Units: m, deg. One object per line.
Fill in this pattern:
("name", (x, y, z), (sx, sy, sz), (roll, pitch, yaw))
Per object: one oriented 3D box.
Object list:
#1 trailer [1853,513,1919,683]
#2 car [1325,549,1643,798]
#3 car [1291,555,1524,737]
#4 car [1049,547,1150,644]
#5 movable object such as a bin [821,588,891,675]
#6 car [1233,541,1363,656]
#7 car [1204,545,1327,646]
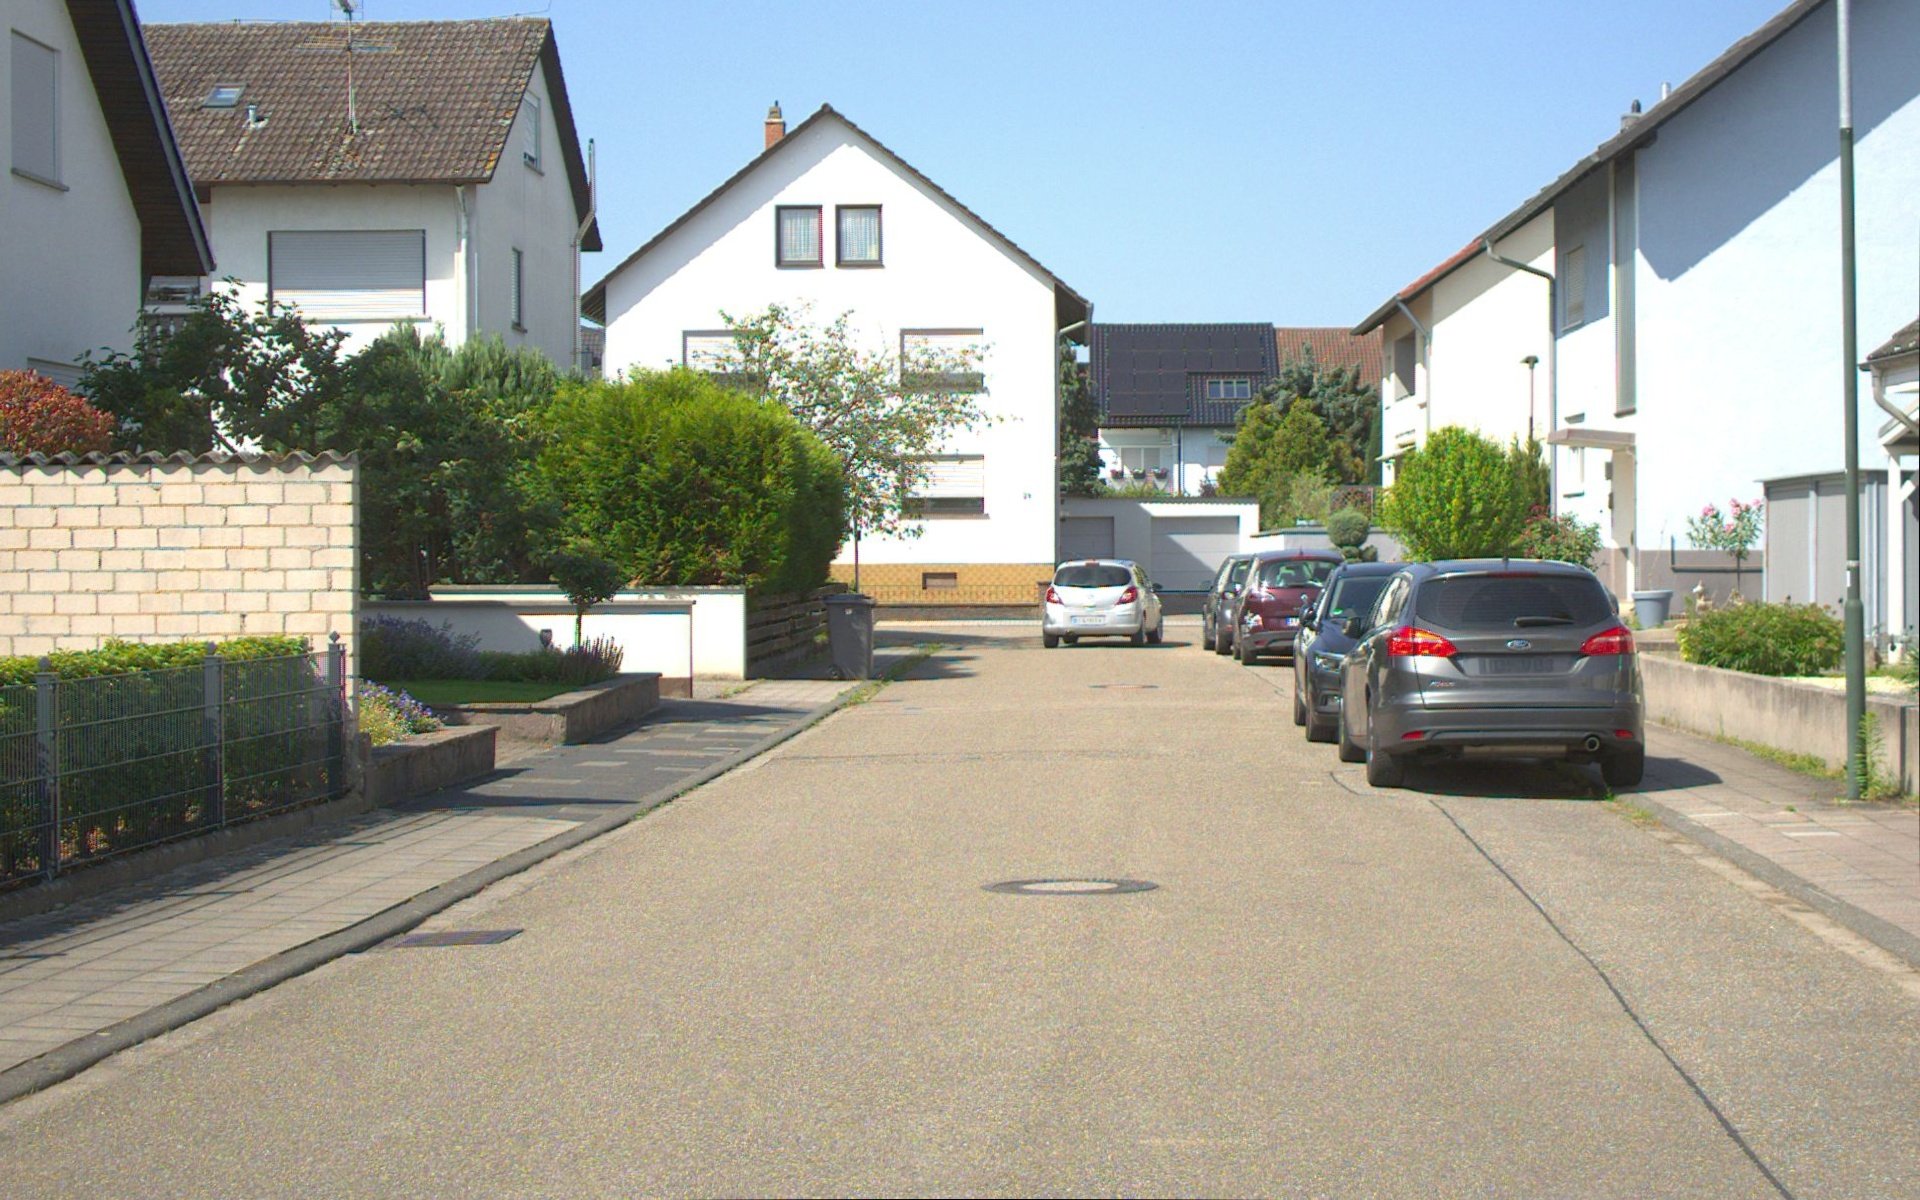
("trailer", (10.624, -0.039, 34.805), (2.834, 1.684, 1.402), (-1, 1, 3))
("car", (3.479, 0.427, 23.460), (1.642, 1.473, 4.000), (1, 2, 2))
("car", (3.751, 0.337, 29.393), (1.717, 1.433, 4.502), (0, 1, 4))
("car", (2.380, -0.097, 58.463), (1.645, 1.576, 3.809), (-1, 1, 3))
("movable object such as a bin", (-1.291, 0.387, 42.628), (0.818, 1.060, 0.611), (-1, 1, 2))
("car", (4.863, -0.057, 49.874), (1.645, 1.576, 4.147), (-1, 1, 3))
("car", (4.839, -0.106, 54.902), (1.645, 1.540, 4.048), (-1, 1, 1))
